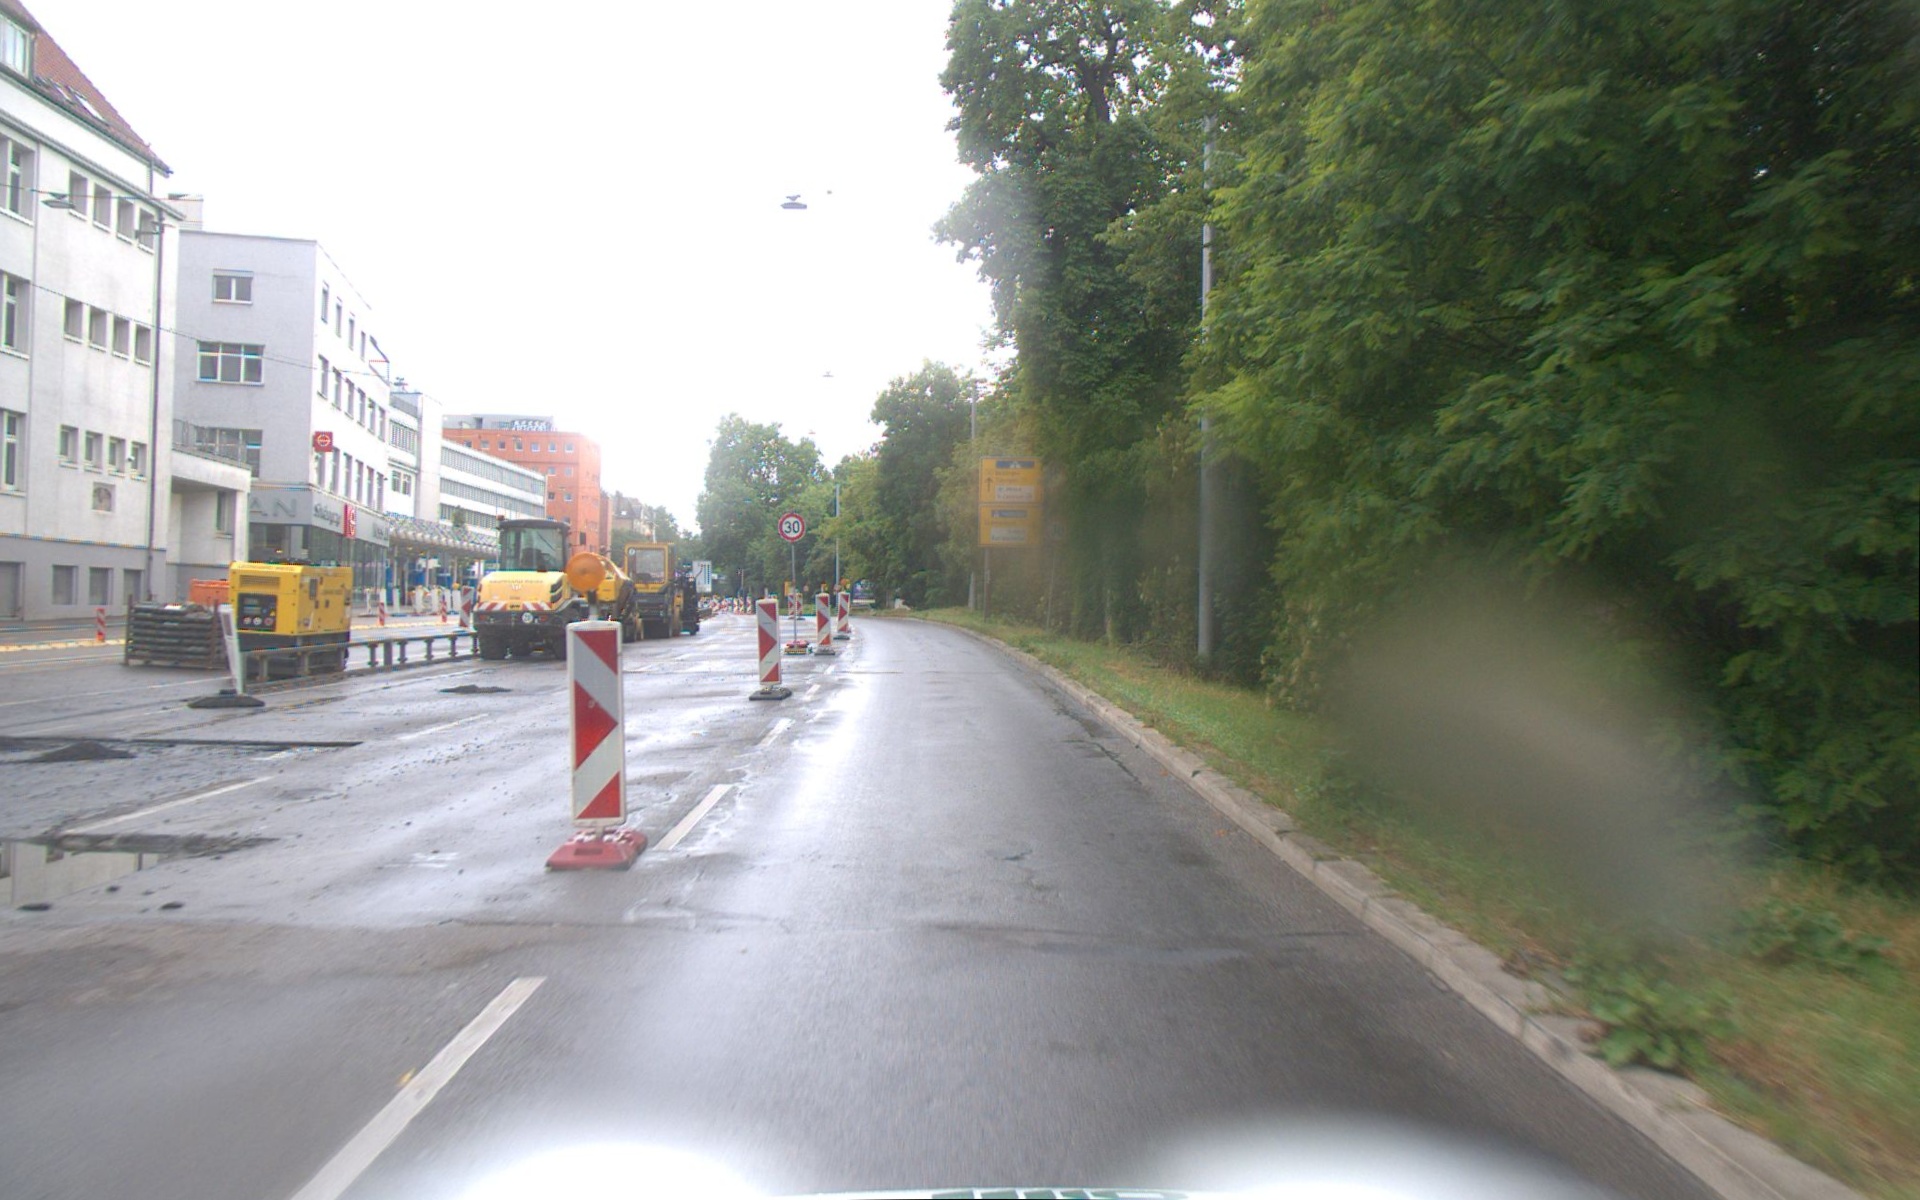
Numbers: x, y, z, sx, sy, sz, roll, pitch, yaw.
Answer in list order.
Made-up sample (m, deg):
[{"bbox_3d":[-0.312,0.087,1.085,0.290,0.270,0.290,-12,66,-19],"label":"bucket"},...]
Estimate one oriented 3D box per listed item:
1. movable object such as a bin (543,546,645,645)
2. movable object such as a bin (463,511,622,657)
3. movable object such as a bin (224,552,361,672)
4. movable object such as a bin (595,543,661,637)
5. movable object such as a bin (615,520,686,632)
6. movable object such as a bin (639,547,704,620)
[{"bbox_3d":[-8.474,-0.115,38.643,1.335,2.126,5.029,1,0,-1],"label":"movable object such as a bin"},{"bbox_3d":[-8.236,-0.308,33.144,1.863,2.654,5.382,1,0,-1],"label":"movable object such as a bin"},{"bbox_3d":[-9.848,0.168,24.545,1.061,1.673,2.438,1,0,-2],"label":"movable object such as a bin"},{"bbox_3d":[-8.831,-0.270,44.083,1.383,2.443,2.404,-1,0,-4],"label":"movable object such as a bin"},{"bbox_3d":[-8.822,-0.674,47.369,1.436,3.061,3.722,-1,0,-2],"label":"movable object such as a bin"},{"bbox_3d":[-9.032,-0.517,52.021,1.682,2.187,3.347,-1,0,-4],"label":"movable object such as a bin"}]
